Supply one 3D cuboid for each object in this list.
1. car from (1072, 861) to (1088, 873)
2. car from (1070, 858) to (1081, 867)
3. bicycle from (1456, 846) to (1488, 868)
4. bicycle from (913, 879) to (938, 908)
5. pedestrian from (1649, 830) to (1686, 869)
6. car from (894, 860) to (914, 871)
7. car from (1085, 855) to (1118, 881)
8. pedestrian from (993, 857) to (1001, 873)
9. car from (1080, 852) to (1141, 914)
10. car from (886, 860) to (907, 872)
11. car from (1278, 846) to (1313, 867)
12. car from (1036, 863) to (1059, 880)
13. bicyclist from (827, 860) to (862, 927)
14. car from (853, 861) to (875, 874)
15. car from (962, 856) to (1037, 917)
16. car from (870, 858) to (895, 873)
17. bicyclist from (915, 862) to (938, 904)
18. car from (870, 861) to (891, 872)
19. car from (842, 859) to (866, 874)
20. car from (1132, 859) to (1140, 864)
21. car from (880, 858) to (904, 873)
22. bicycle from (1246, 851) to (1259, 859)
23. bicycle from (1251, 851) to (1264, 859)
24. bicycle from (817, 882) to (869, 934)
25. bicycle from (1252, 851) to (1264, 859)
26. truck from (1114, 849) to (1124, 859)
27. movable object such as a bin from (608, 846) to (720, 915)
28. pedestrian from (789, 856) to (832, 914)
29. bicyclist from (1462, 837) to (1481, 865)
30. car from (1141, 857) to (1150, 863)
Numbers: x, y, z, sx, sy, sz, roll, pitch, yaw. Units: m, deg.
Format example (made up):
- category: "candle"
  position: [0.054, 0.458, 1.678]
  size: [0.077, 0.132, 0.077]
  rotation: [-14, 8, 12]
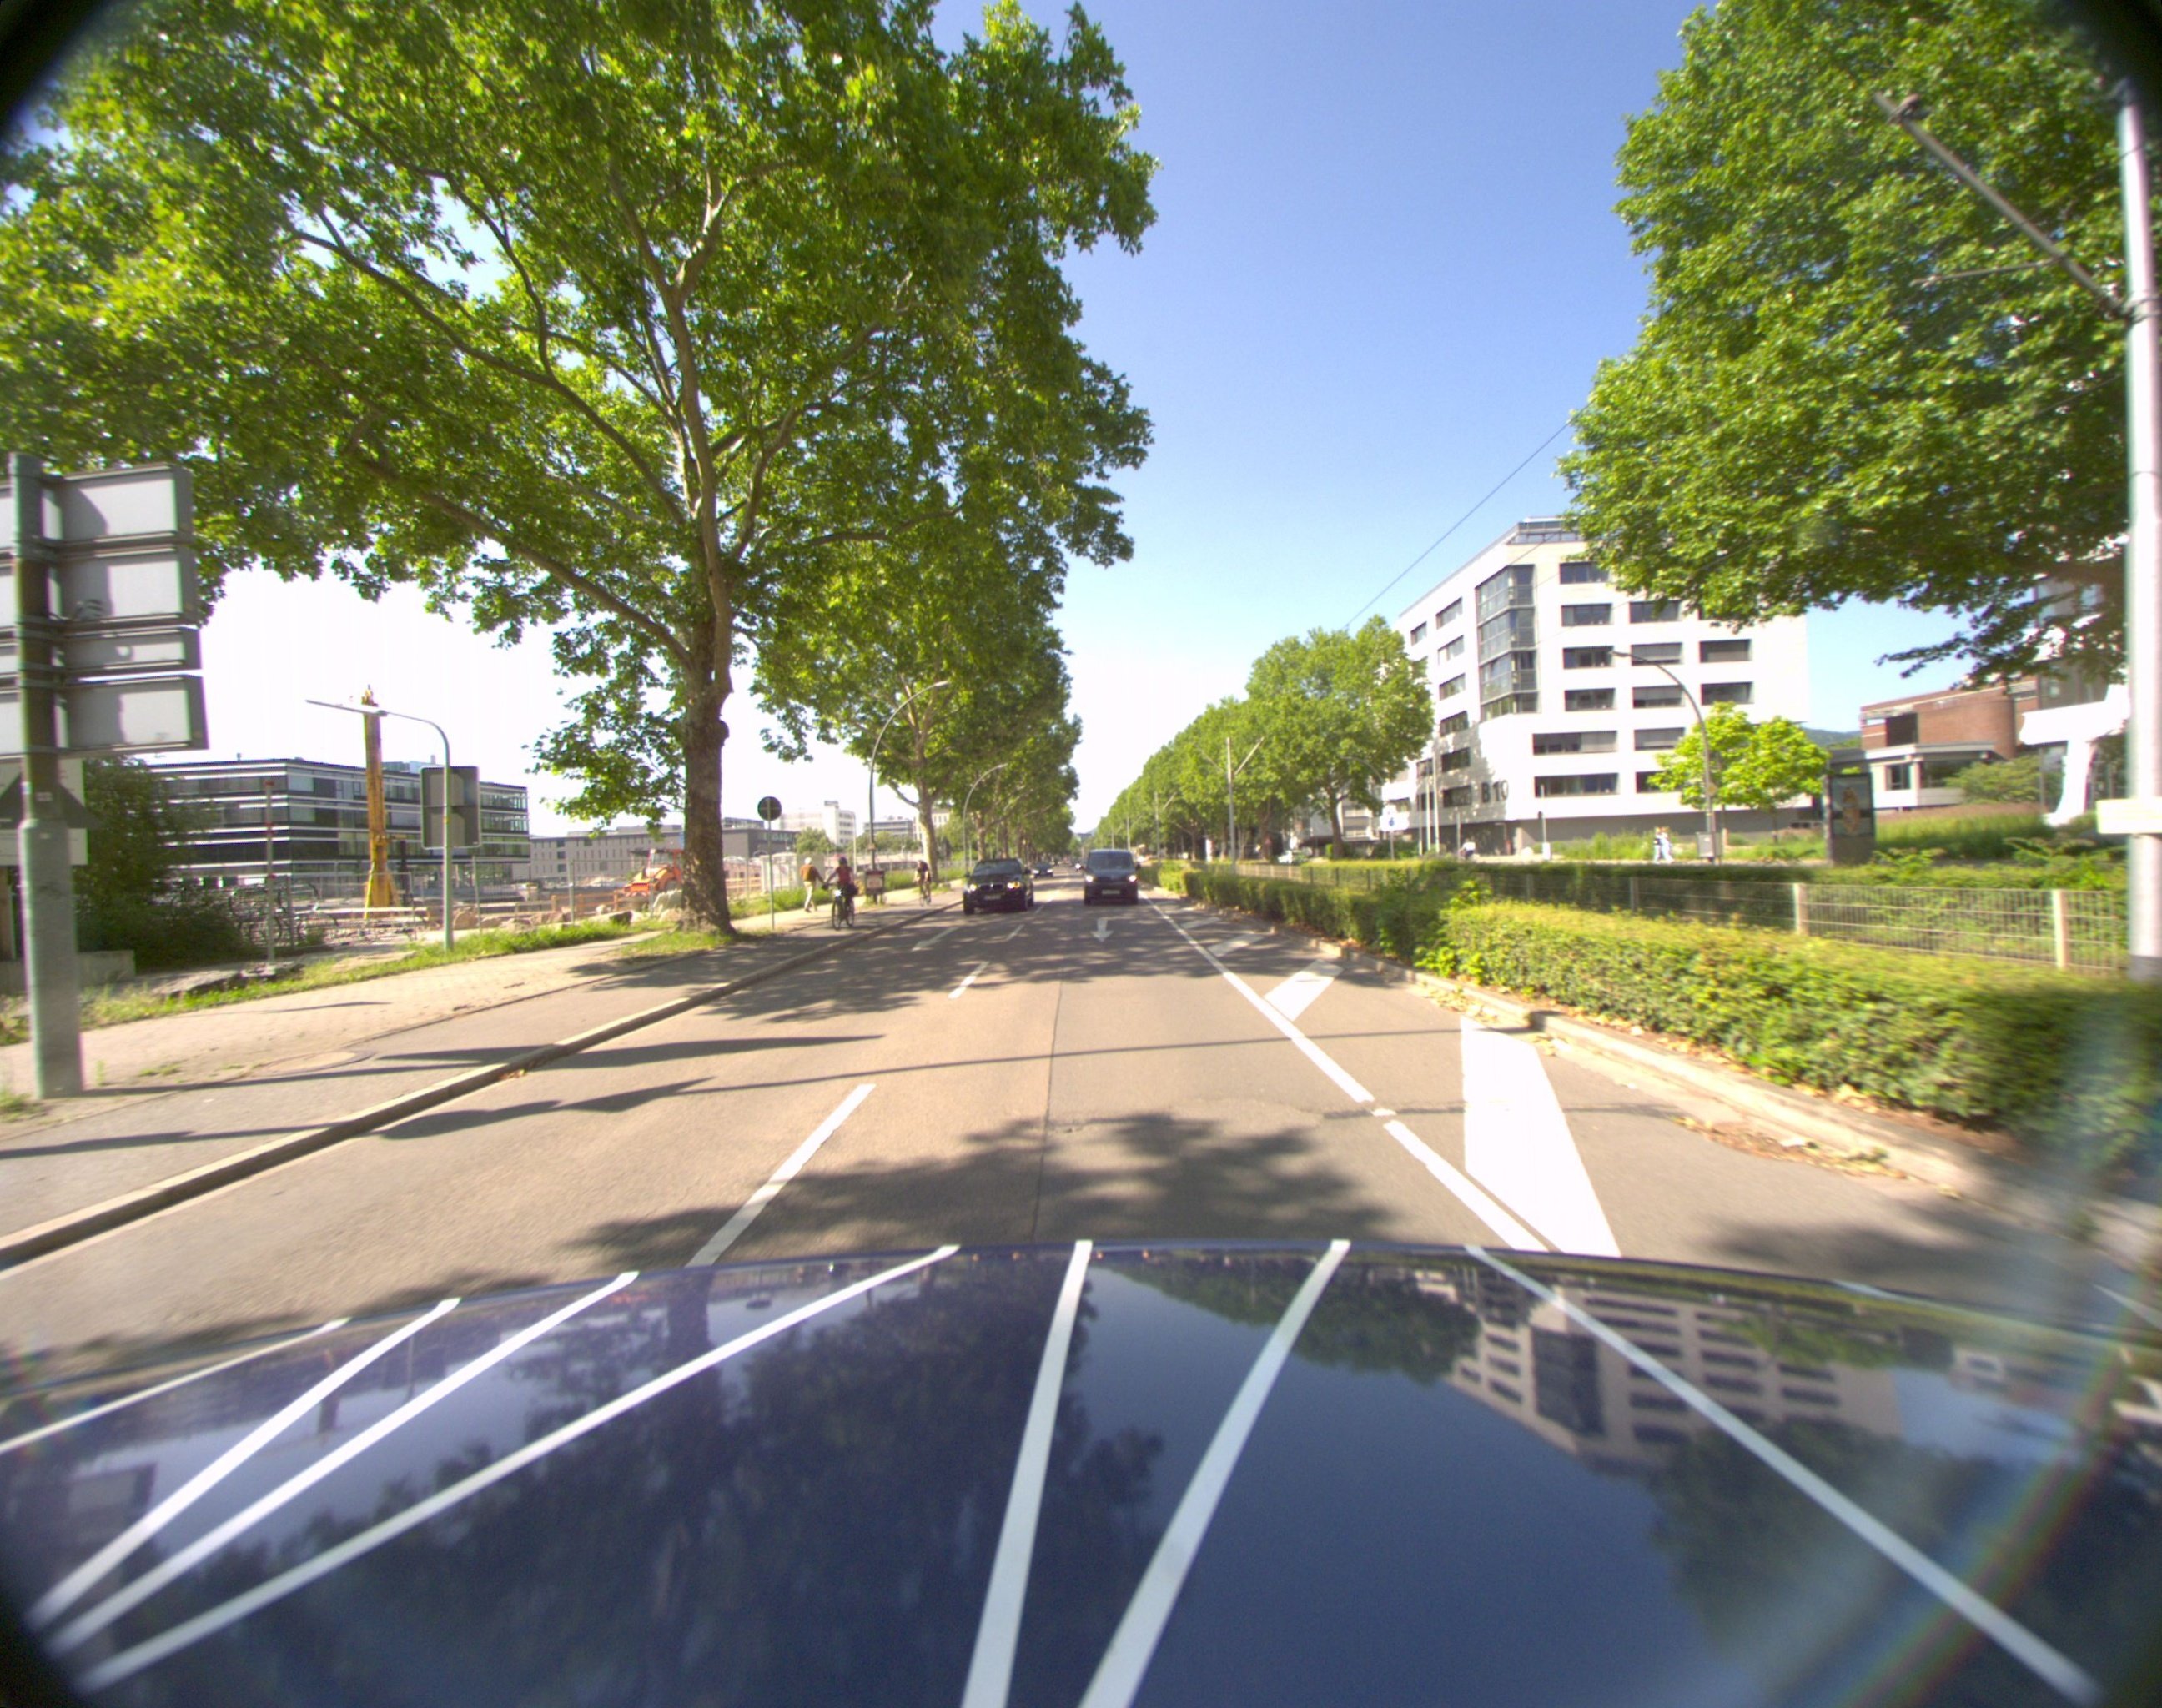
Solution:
- category: "car"
  position: [-0.096, 1.659, 100.308]
  size: [1.854, 1.418, 4.152]
  rotation: [-3, 0, 1]
- category: "car"
  position: [-1.046, 1.575, 143.943]
  size: [1.854, 1.418, 4.152]
  rotation: [-3, 0, 1]
- category: "bicycle"
  position: [21.586, 0.169, 41.970]
  size: [0.666, 1.117, 2.031]
  rotation: [-3, 0, 1]
- category: "bicycle"
  position: [-5.650, 1.412, 27.704]
  size: [0.599, 0.974, 1.781]
  rotation: [0, 0, -1]
- category: "pedestrian"
  position: [24.825, -0.177, 32.171]
  size: [0.722, 1.579, 1.015]
  rotation: [-3, 0, 1]
- category: "car"
  position: [-39.443, 2.534, 169.201]
  size: [3.998, 2.308, 1.808]
  rotation: [-3, 0, -3]
- category: "car"
  position: [1.286, 0.859, 48.722]
  size: [1.924, 1.543, 4.151]
  rotation: [-3, 0, 0]
- category: "pedestrian"
  position: [-9.513, 1.265, 85.918]
  size: [0.711, 1.714, 1.066]
  rotation: [-3, 0, -1]
- category: "car"
  position: [0.945, 0.888, 25.045]
  size: [1.789, 1.839, 4.000]
  rotation: [-2, 0, 1]
- category: "car"
  position: [-39.061, 2.514, 161.166]
  size: [3.998, 2.308, 1.808]
  rotation: [-3, 0, -3]
- category: "car"
  position: [17.877, 0.215, 63.616]
  size: [1.761, 1.560, 4.019]
  rotation: [-3, 0, 1]
- category: "car"
  position: [-3.083, 1.591, 70.408]
  size: [1.854, 1.418, 4.152]
  rotation: [-3, 0, 1]
- category: "bicyclist"
  position: [-5.788, 0.957, 18.629]
  size: [0.621, 1.590, 0.732]
  rotation: [-1, 0, -1]
- category: "car"
  position: [-44.348, 2.726, 155.259]
  size: [3.998, 2.308, 1.808]
  rotation: [-3, 0, -3]
- category: "car"
  position: [-2.573, 0.991, 25.001]
  size: [1.924, 1.720, 4.151]
  rotation: [-3, 0, 0]
- category: "car"
  position: [-38.703, 2.305, 148.380]
  size: [4.375, 2.722, 1.808]
  rotation: [-3, 0, -3]
- category: "bicyclist"
  position: [-5.648, 1.046, 27.793]
  size: [0.600, 1.481, 1.215]
  rotation: [0, 0, -1]
- category: "car"
  position: [-44.612, 2.743, 169.029]
  size: [3.998, 2.308, 1.808]
  rotation: [-3, 0, -3]
- category: "car"
  position: [-44.267, 2.513, 148.314]
  size: [3.998, 2.722, 1.808]
  rotation: [-3, 0, -3]
- category: "car"
  position: [15.537, 2.067, 213.628]
  size: [1.860, 1.445, 3.999]
  rotation: [-2, 0, -1]
- category: "car"
  position: [-38.715, 2.309, 155.413]
  size: [4.375, 2.722, 1.808]
  rotation: [-3, 0, -3]
- category: "bicycle"
  position: [27.028, 0.144, 119.716]
  size: [1.770, 1.096, 0.421]
  rotation: [-3, 0, -2]
- category: "bicycle"
  position: [27.231, 0.135, 117.338]
  size: [1.770, 1.096, 0.421]
  rotation: [-3, 0, -2]
- category: "bicycle"
  position: [-5.789, 1.291, 18.579]
  size: [0.653, 1.123, 1.945]
  rotation: [-1, 0, 0]
- category: "bicycle"
  position: [27.238, 0.134, 116.875]
  size: [1.770, 1.096, 0.421]
  rotation: [-3, 0, -2]
- category: "truck"
  position: [13.030, 0.092, 262.477]
  size: [2.752, 3.259, 6.540]
  rotation: [-3, 0, -1]
- category: "movable object such as a bin"
  position: [-20.828, 1.256, 38.344]
  size: [2.376, 3.053, 5.984]
  rotation: [-3, 0, -3]
- category: "pedestrian"
  position: [-9.067, 1.023, 25.532]
  size: [0.941, 1.881, 1.151]
  rotation: [-3, 0, 1]
- category: "bicyclist"
  position: [21.563, -0.157, 41.971]
  size: [0.656, 1.526, 0.641]
  rotation: [-3, 0, 1]
- category: "car"
  position: [15.190, 1.374, 178.737]
  size: [1.820, 1.481, 3.912]
  rotation: [-1, 0, -1]
